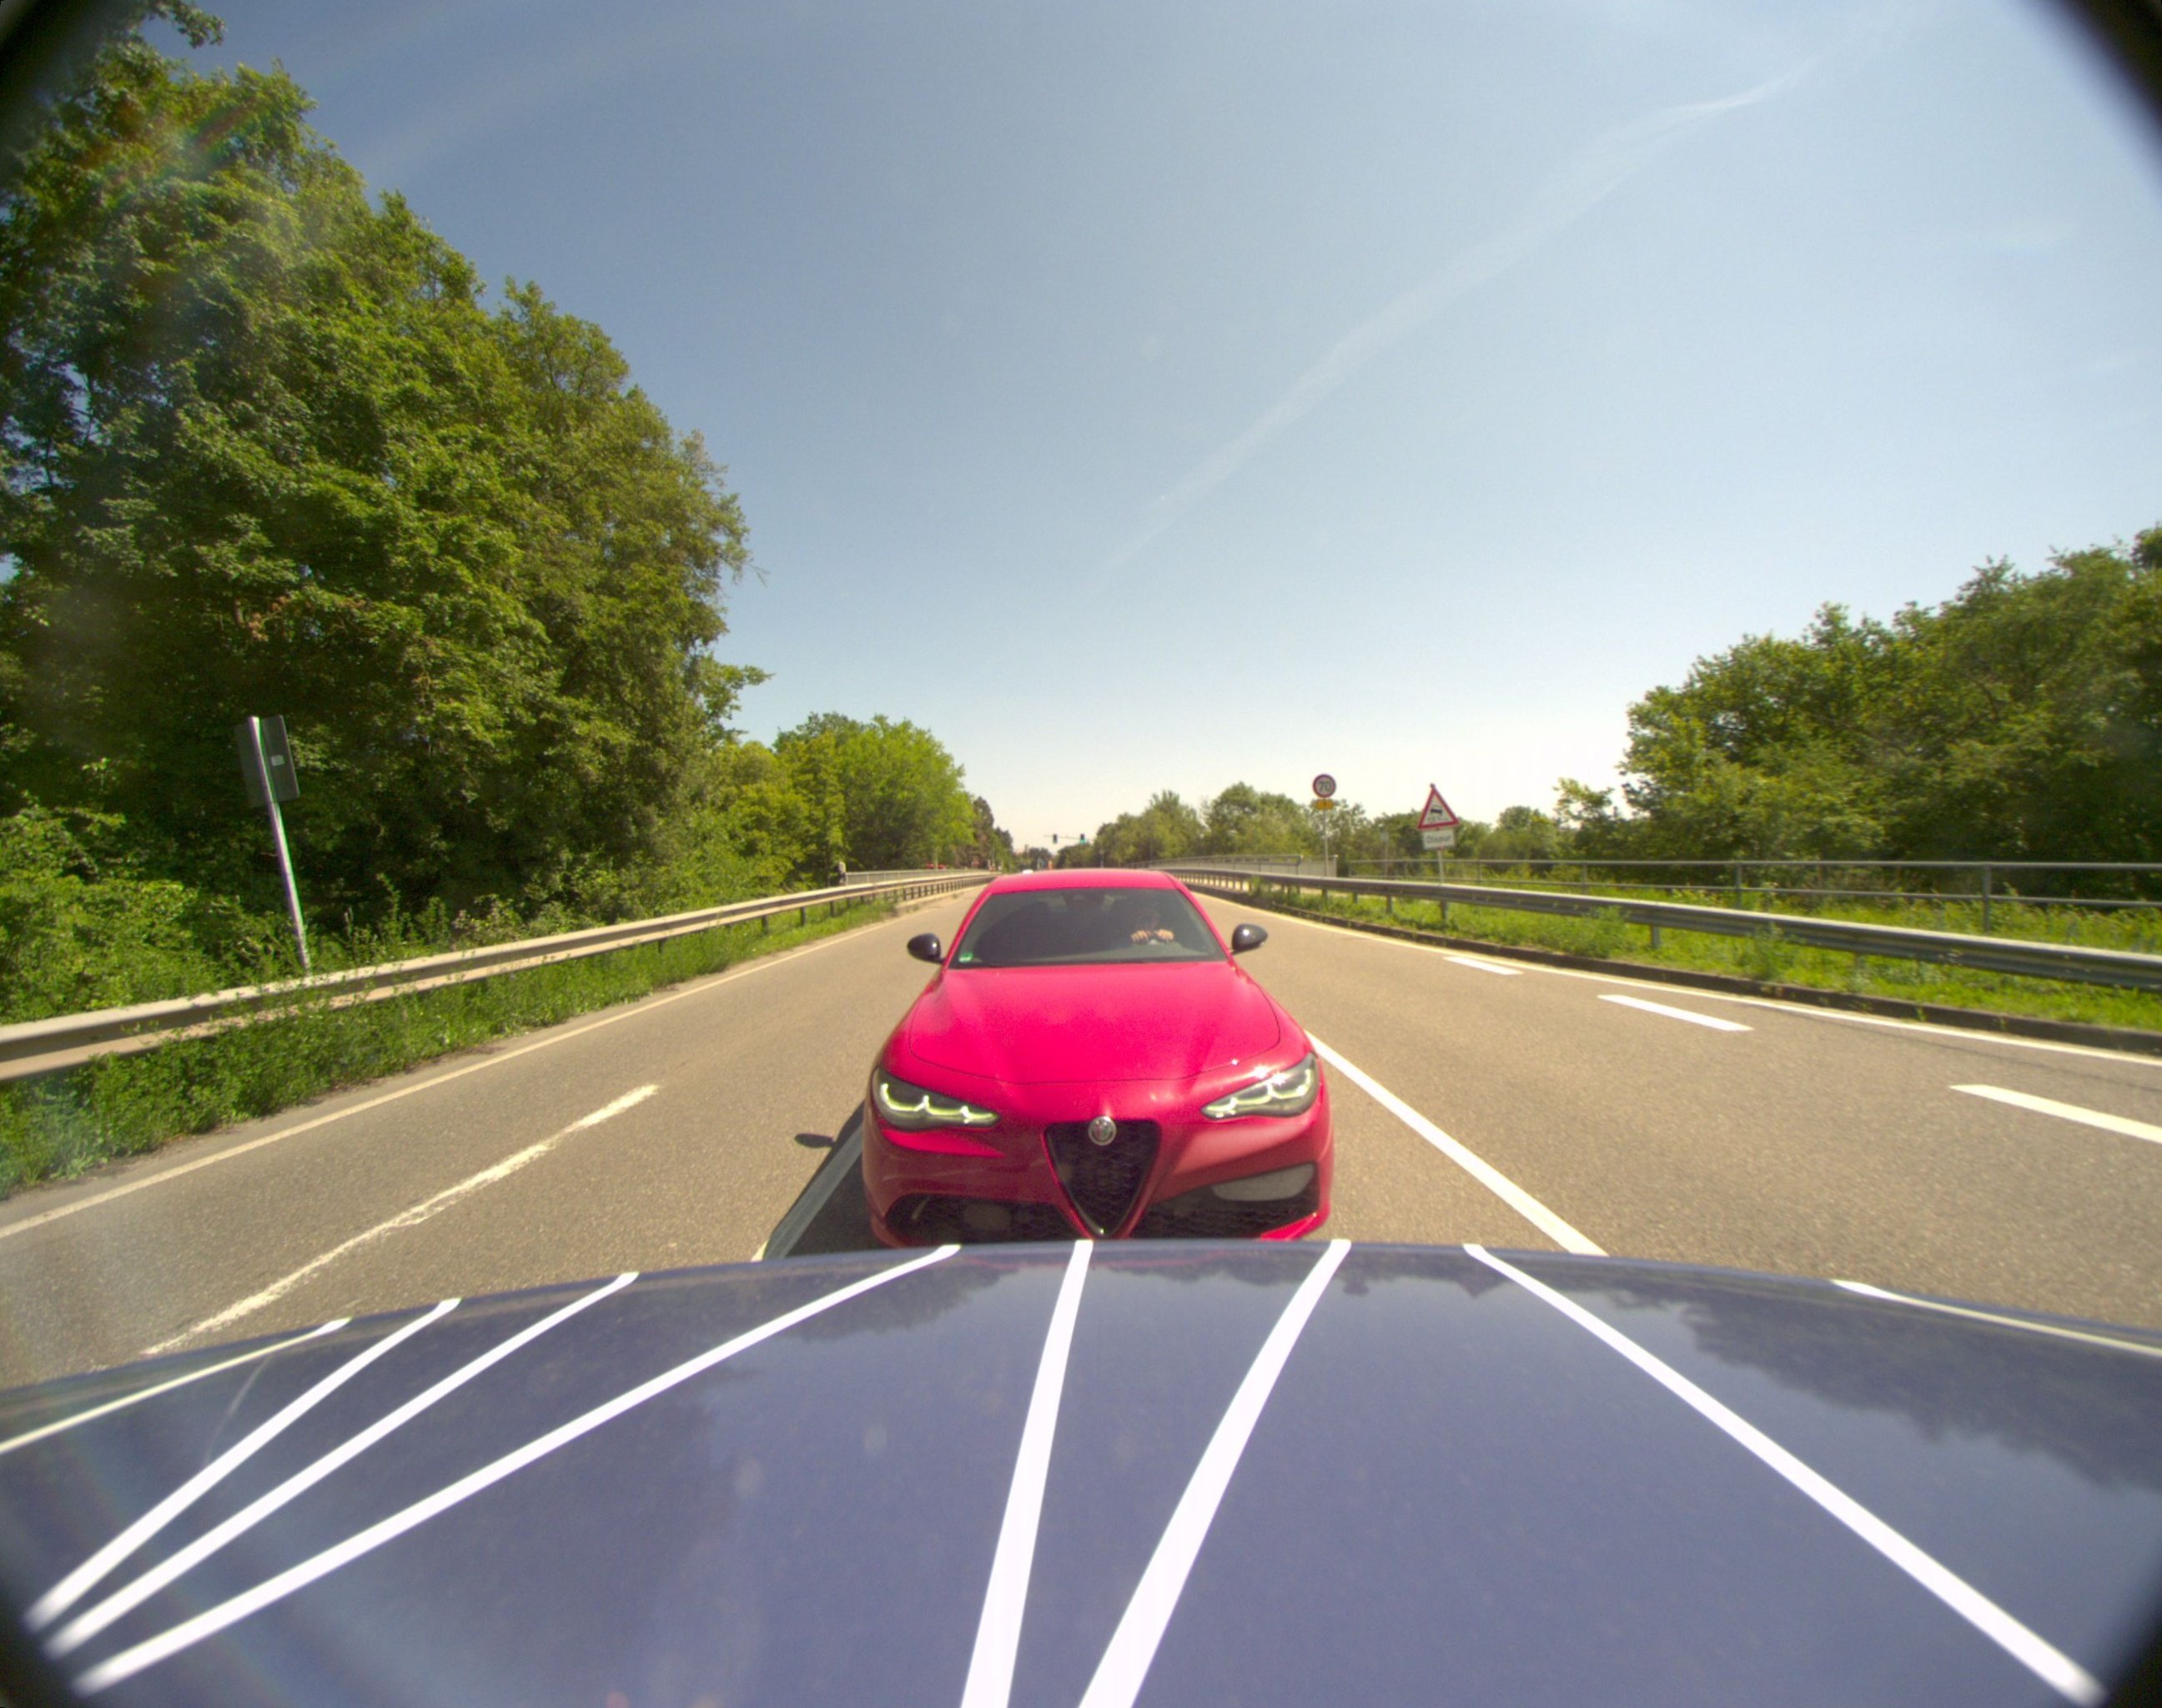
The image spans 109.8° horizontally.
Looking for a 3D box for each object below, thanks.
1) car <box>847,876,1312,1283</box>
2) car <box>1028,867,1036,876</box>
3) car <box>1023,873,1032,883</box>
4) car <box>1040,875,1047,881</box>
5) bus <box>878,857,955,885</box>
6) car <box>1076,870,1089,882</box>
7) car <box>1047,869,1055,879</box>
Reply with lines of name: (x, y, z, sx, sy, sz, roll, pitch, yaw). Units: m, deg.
car: (-0.044, 0.941, 5.123, 1.801, 1.448, 4.284, -1, 0, -1)
car: (-9.022, 3.226, 140.327, 1.476, 1.565, 3.487, -1, 0, -4)
car: (-9.323, 4.178, 133.035, 1.416, 1.499, 3.315, -1, 0, -3)
car: (-11.450, 7.391, 233.572, 1.848, 1.758, 3.999, -1, 0, -1)
bus: (-23.079, 2.365, 106.062, 12.394, 3.641, 2.874, -1, 1, 36)
car: (0.226, 3.002, 104.926, 1.649, 1.410, 3.765, -2, 0, -1)
car: (-7.911, 5.302, 198.818, 1.996, 2.354, 5.180, -2, 0, -3)
